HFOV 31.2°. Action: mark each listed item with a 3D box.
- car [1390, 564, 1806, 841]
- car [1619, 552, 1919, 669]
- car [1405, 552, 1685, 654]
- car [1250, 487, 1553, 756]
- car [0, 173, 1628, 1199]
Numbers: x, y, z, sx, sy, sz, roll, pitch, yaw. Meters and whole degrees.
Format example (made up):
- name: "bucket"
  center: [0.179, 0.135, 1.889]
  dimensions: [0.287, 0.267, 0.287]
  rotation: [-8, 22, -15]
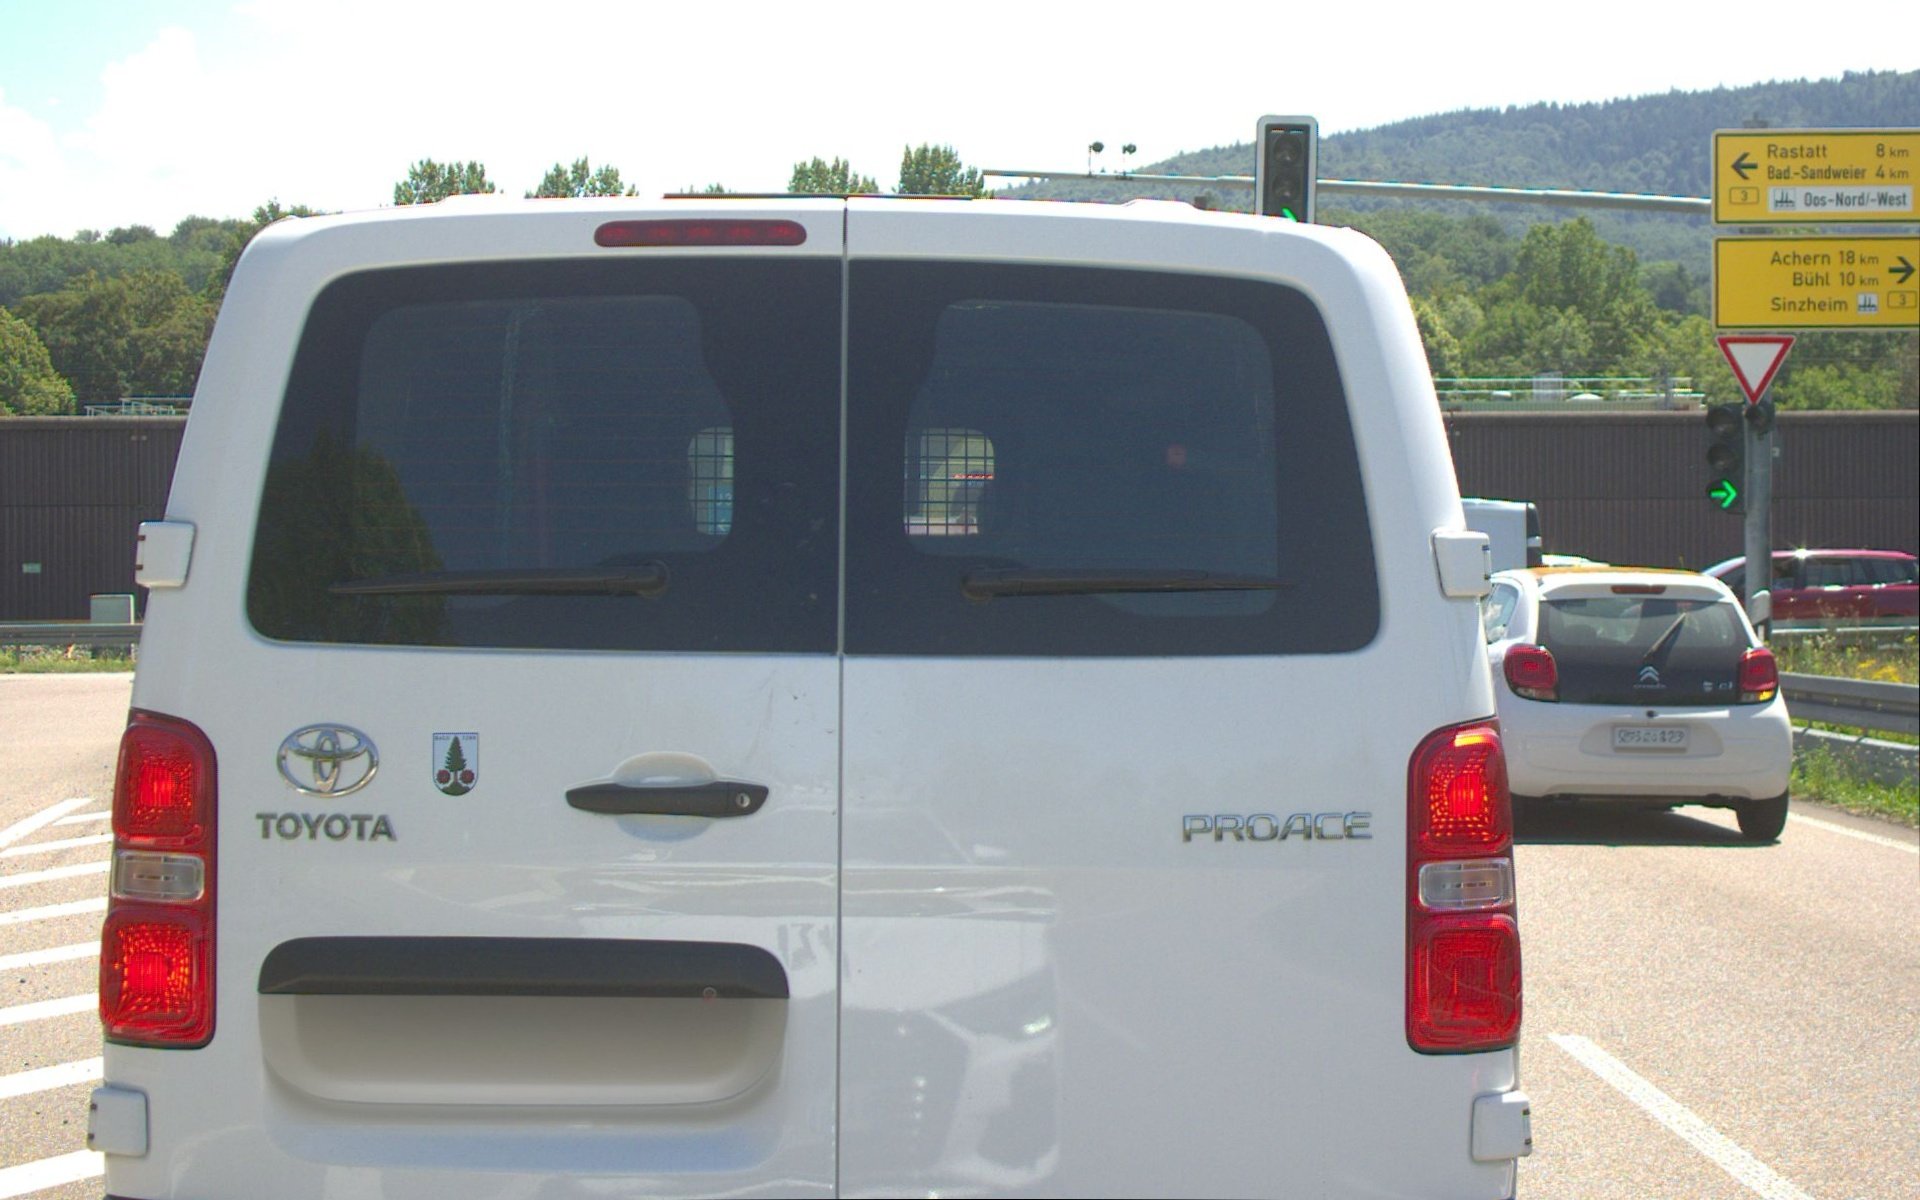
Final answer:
- name: "car"
  center: [3.543, 0.516, 19.633]
  dimensions: [1.656, 1.426, 3.366]
  rotation: [1, 1, -1]
- name: "car"
  center: [11.936, 0.134, 49.834]
  dimensions: [4.309, 1.651, 2.000]
  rotation: [0, 1, -3]
- name: "car"
  center: [9.034, 0.036, 53.348]
  dimensions: [3.987, 1.550, 2.000]
  rotation: [0, 1, -1]
- name: "car"
  center: [3.516, 0.133, 28.209]
  dimensions: [1.928, 1.993, 4.837]
  rotation: [1, 1, 1]
- name: "car"
  center: [-0.235, 0.447, 5.898]
  dimensions: [1.886, 1.880, 4.000]
  rotation: [1, 1, -1]
